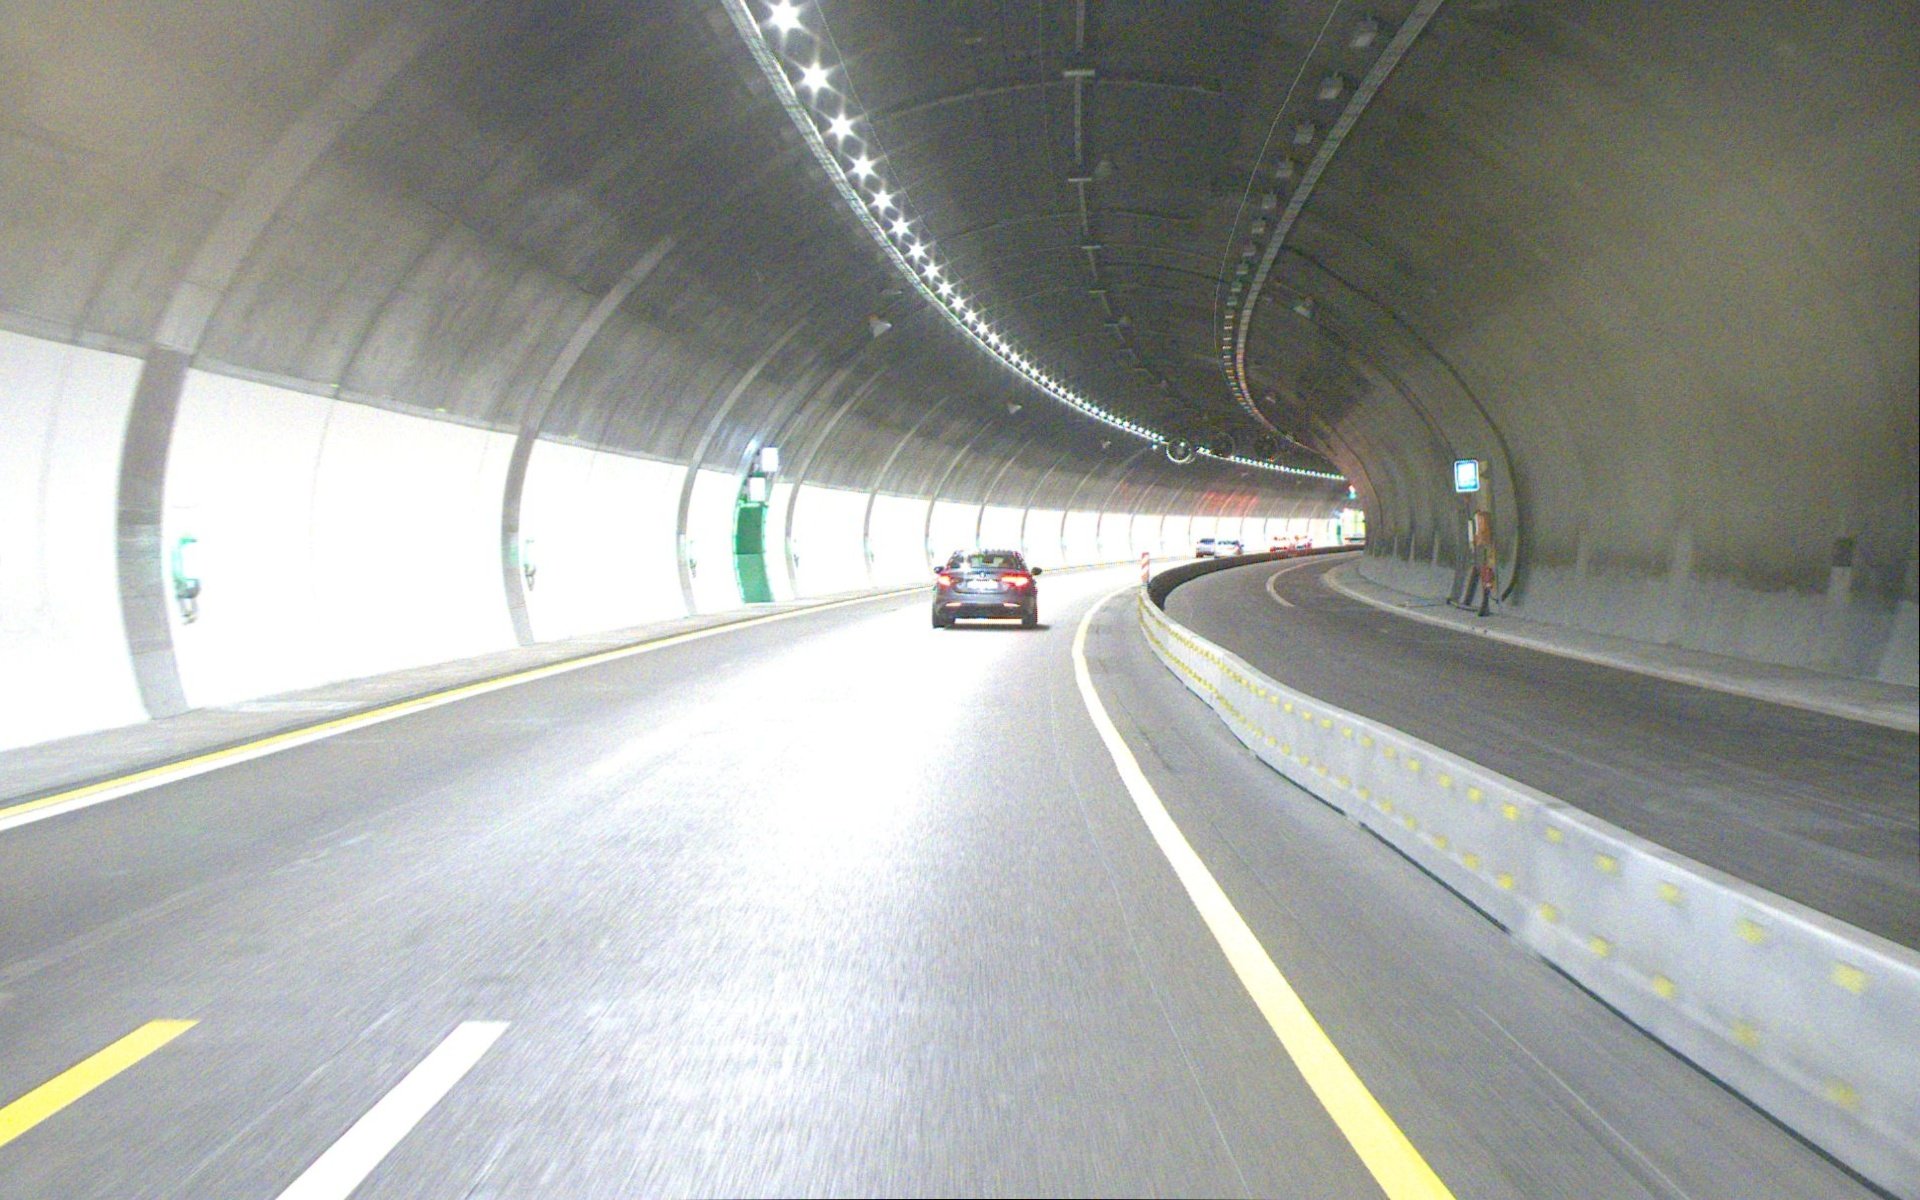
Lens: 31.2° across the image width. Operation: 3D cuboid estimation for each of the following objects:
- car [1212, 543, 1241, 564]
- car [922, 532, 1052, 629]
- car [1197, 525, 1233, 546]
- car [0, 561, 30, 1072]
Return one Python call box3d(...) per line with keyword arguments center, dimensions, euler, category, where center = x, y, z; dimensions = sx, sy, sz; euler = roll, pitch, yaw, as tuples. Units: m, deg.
box3d(center=(17.577, -3.090, 226.860), dimensions=(1.595, 1.328, 3.749), euler=(1, 1, 9), category="car")
box3d(center=(0.527, -0.391, 62.757), dimensions=(2.141, 1.700, 4.000), euler=(0, 1, 4), category="car")
box3d(center=(18.328, -4.623, 247.125), dimensions=(2.166, 1.481, 3.998), euler=(0, 1, 10), category="car")
box3d(center=(-3.598, 0.648, 7.512), dimensions=(1.778, 1.433, 4.883), euler=(1, 1, 0), category="car")
